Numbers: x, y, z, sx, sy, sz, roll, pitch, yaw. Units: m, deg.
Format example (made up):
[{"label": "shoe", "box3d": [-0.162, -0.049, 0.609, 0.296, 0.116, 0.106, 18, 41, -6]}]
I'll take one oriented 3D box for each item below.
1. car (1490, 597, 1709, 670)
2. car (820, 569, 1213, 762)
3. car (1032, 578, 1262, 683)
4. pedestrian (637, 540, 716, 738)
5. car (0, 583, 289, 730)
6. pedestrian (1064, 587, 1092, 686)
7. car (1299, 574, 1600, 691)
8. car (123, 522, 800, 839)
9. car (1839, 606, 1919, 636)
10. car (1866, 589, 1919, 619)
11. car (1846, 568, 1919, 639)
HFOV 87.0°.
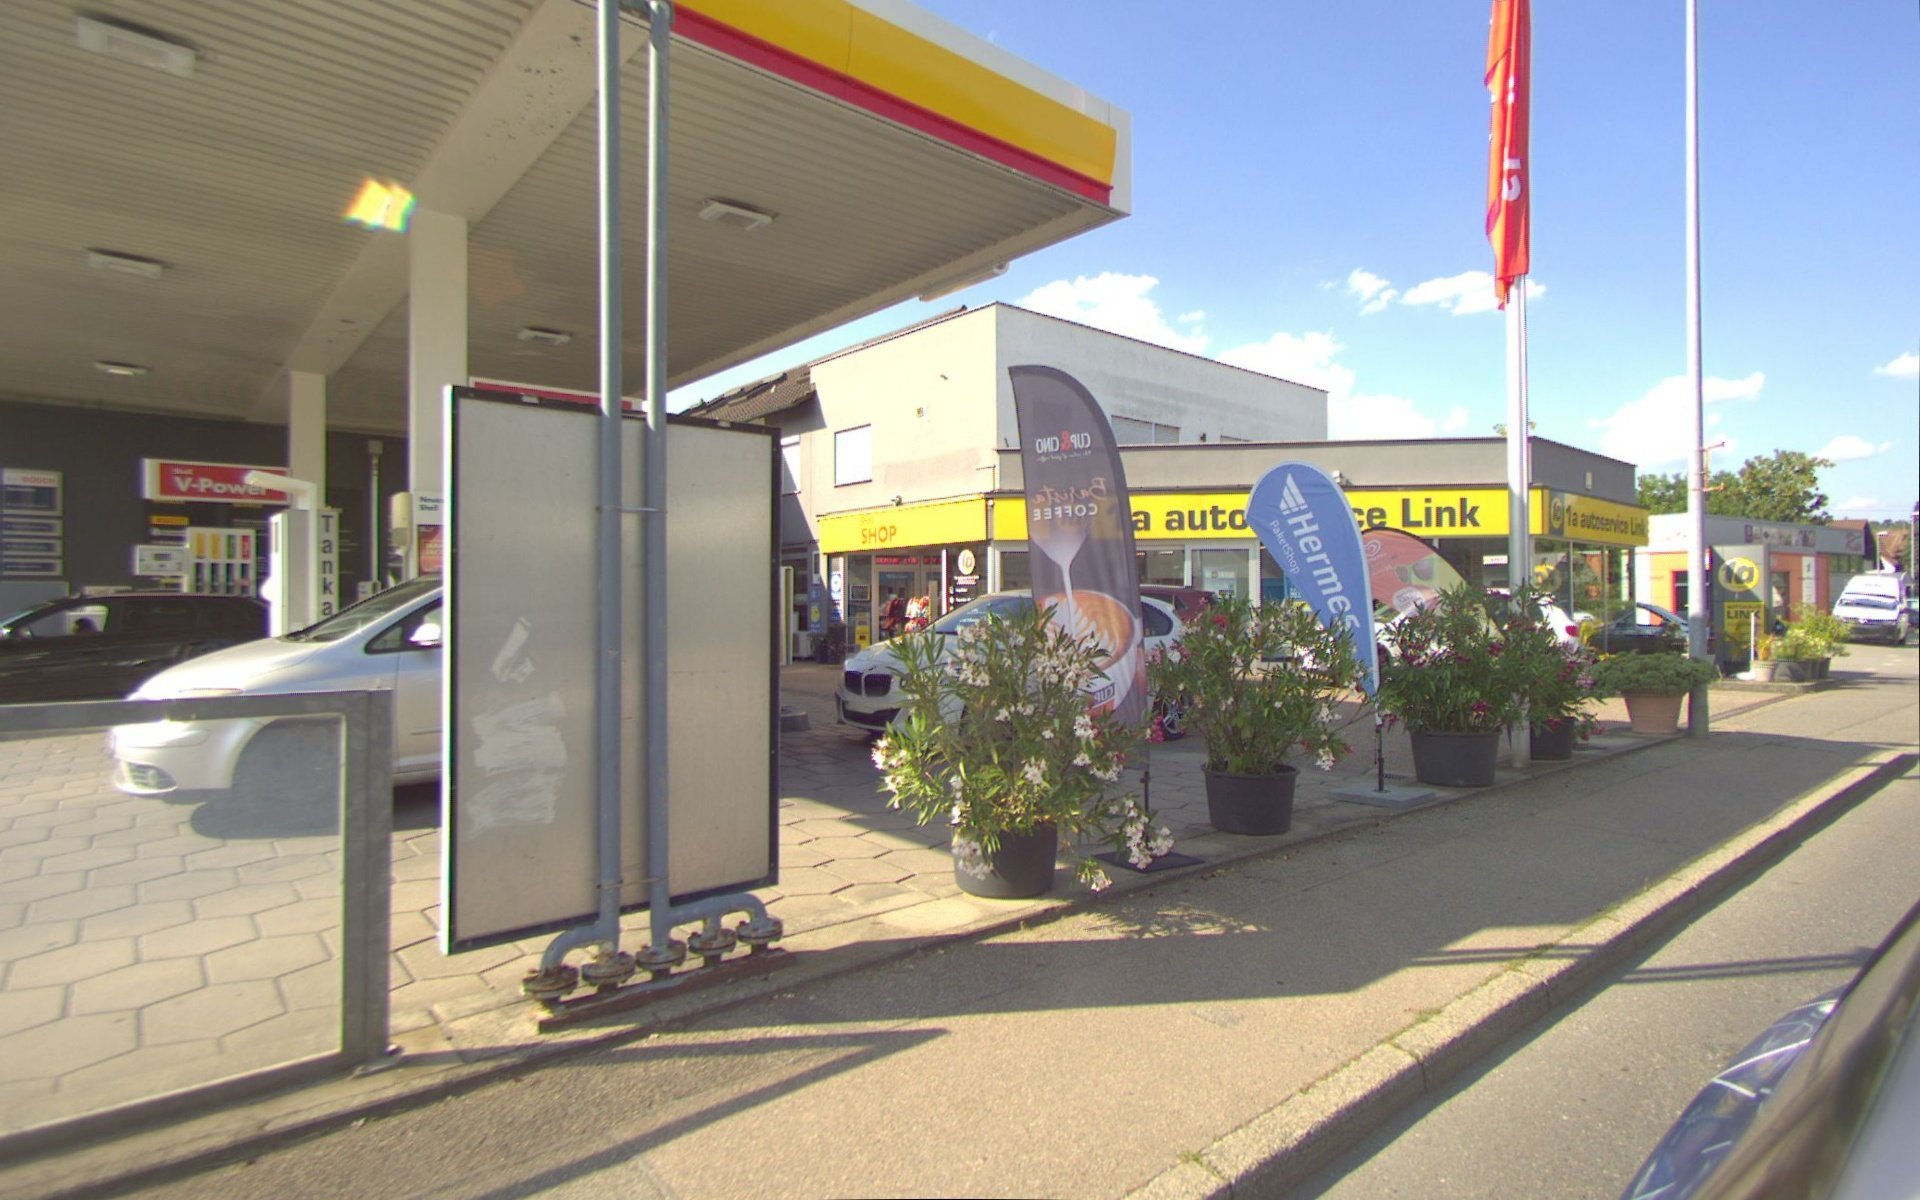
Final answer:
[{"label": "car", "box3d": [14.622, 0.699, 23.326, 1.500, 1.551, 3.996, 0, 0, -38]}, {"label": "car", "box3d": [0.696, 0.550, 10.269, 3.928, 1.597, 1.675, 1, 0, -40]}, {"label": "car", "box3d": [3.070, 0.463, 17.008, 3.625, 1.653, 1.674, 0, 1, 8]}, {"label": "pedestrian", "box3d": [-2.530, 0.333, 9.027, 0.525, 1.691, 0.501, 0, -1, -40]}, {"label": "car", "box3d": [-9.671, 0.563, 10.887, 3.929, 1.418, 1.540, -2, 1, -40]}, {"label": "pedestrian", "box3d": [1.830, 0.557, 15.727, 0.423, 1.498, 0.624, 0, -1, 7]}, {"label": "car", "box3d": [7.742, 0.469, 16.361, 4.010, 1.695, 1.674, 1, 1, 8]}, {"label": "car", "box3d": [-3.248, 0.414, 7.027, 3.928, 1.597, 1.675, 1, 0, -40]}, {"label": "car", "box3d": [48.764, 1.092, 52.852, 1.595, 1.434, 4.077, -1, 2, -37]}, {"label": "car", "box3d": [53.878, 0.210, 57.094, 1.652, 1.623, 3.948, -1, 1, -39]}, {"label": "car", "box3d": [33.585, 0.092, 36.621, 5.092, 2.405, 1.838, 0, 0, -44]}]
